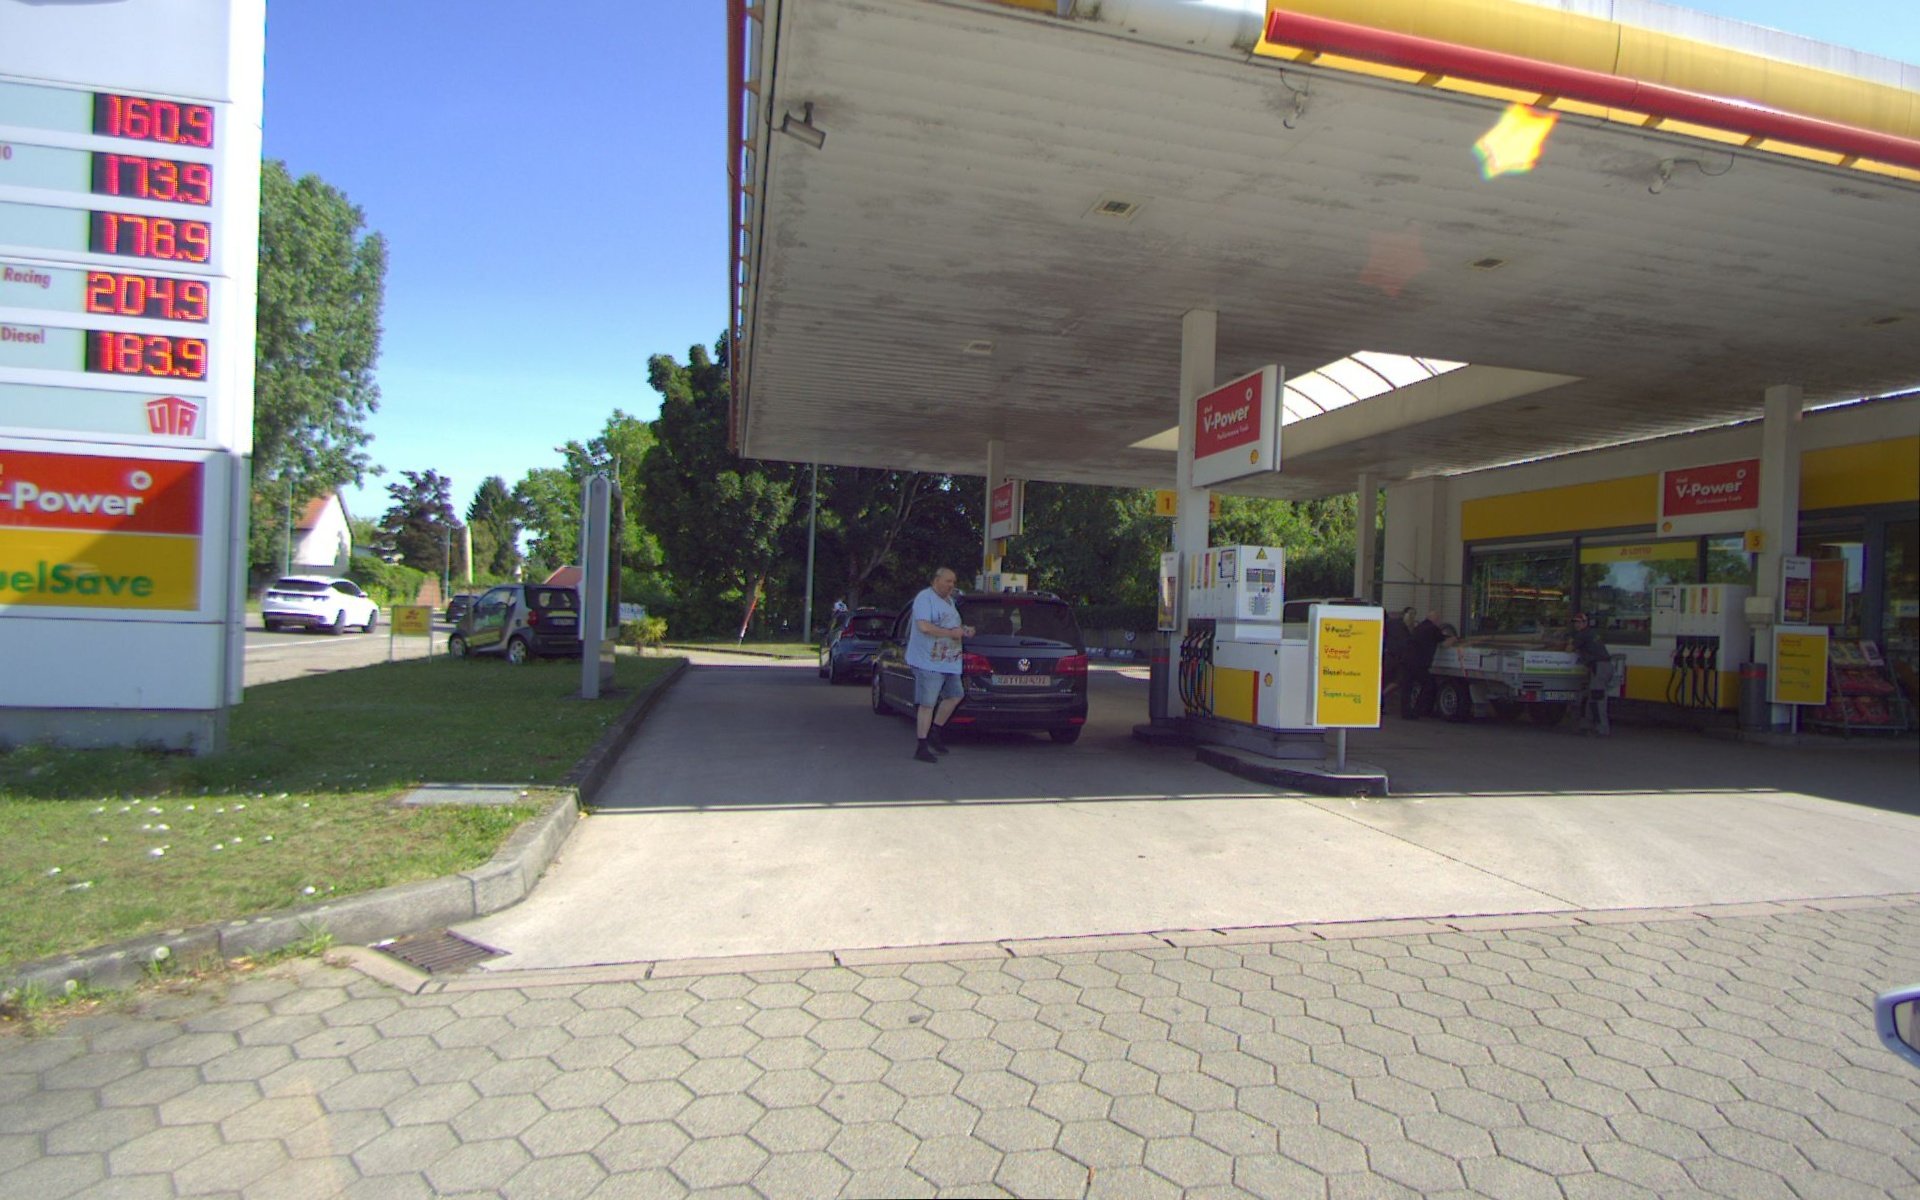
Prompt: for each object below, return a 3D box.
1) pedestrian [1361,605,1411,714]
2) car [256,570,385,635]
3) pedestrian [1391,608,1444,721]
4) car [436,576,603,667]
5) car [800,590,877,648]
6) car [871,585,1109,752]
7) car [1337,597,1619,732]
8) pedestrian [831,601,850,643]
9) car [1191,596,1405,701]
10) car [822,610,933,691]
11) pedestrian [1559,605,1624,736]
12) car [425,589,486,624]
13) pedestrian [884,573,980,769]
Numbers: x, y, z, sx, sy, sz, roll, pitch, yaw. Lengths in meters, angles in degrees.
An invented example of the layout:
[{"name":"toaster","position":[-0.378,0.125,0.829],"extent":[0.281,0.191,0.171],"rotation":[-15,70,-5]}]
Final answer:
[{"name":"pedestrian","position":[6.613,0.915,15.592],"extent":[0.492,1.653,0.475],"rotation":[2,-1,-10]},{"name":"car","position":[-18.806,0.099,29.785],"extent":[1.783,1.670,4.296],"rotation":[4,-1,-13]},{"name":"pedestrian","position":[6.701,0.930,14.723],"extent":[0.492,1.614,0.475],"rotation":[2,-1,-10]},{"name":"car","position":[-8.352,0.403,19.051],"extent":[2.683,1.550,1.575],"rotation":[2,-3,31]},{"name":"car","position":[-4.315,0.669,35.176],"extent":[1.968,1.788,3.987],"rotation":[4,-2,-16]},{"name":"car","position":[0.157,0.703,11.764],"extent":[1.736,1.599,3.866],"rotation":[2,-1,-15]},{"name":"car","position":[7.726,0.916,15.462],"extent":[1.800,1.750,3.994],"rotation":[2,-1,-9]},{"name":"pedestrian","position":[-4.545,0.848,38.152],"extent":[0.666,1.557,0.393],"rotation":[2,-1,-9]},{"name":"car","position":[6.723,0.918,20.647],"extent":[1.826,1.862,4.766],"rotation":[3,-1,-14]},{"name":"car","position":[-1.711,0.917,19.672],"extent":[1.771,1.378,3.841],"rotation":[2,-1,-10]},{"name":"pedestrian","position":[8.366,0.924,13.317],"extent":[0.467,1.690,0.499],"rotation":[2,-1,-12]},{"name":"car","position":[-23.770,0.303,47.449],"extent":[1.624,1.449,4.044],"rotation":[5,-1,-14]},{"name":"pedestrian","position":[-0.273,0.653,9.450],"extent":[0.663,1.752,0.809],"rotation":[3,-1,-16]}]
